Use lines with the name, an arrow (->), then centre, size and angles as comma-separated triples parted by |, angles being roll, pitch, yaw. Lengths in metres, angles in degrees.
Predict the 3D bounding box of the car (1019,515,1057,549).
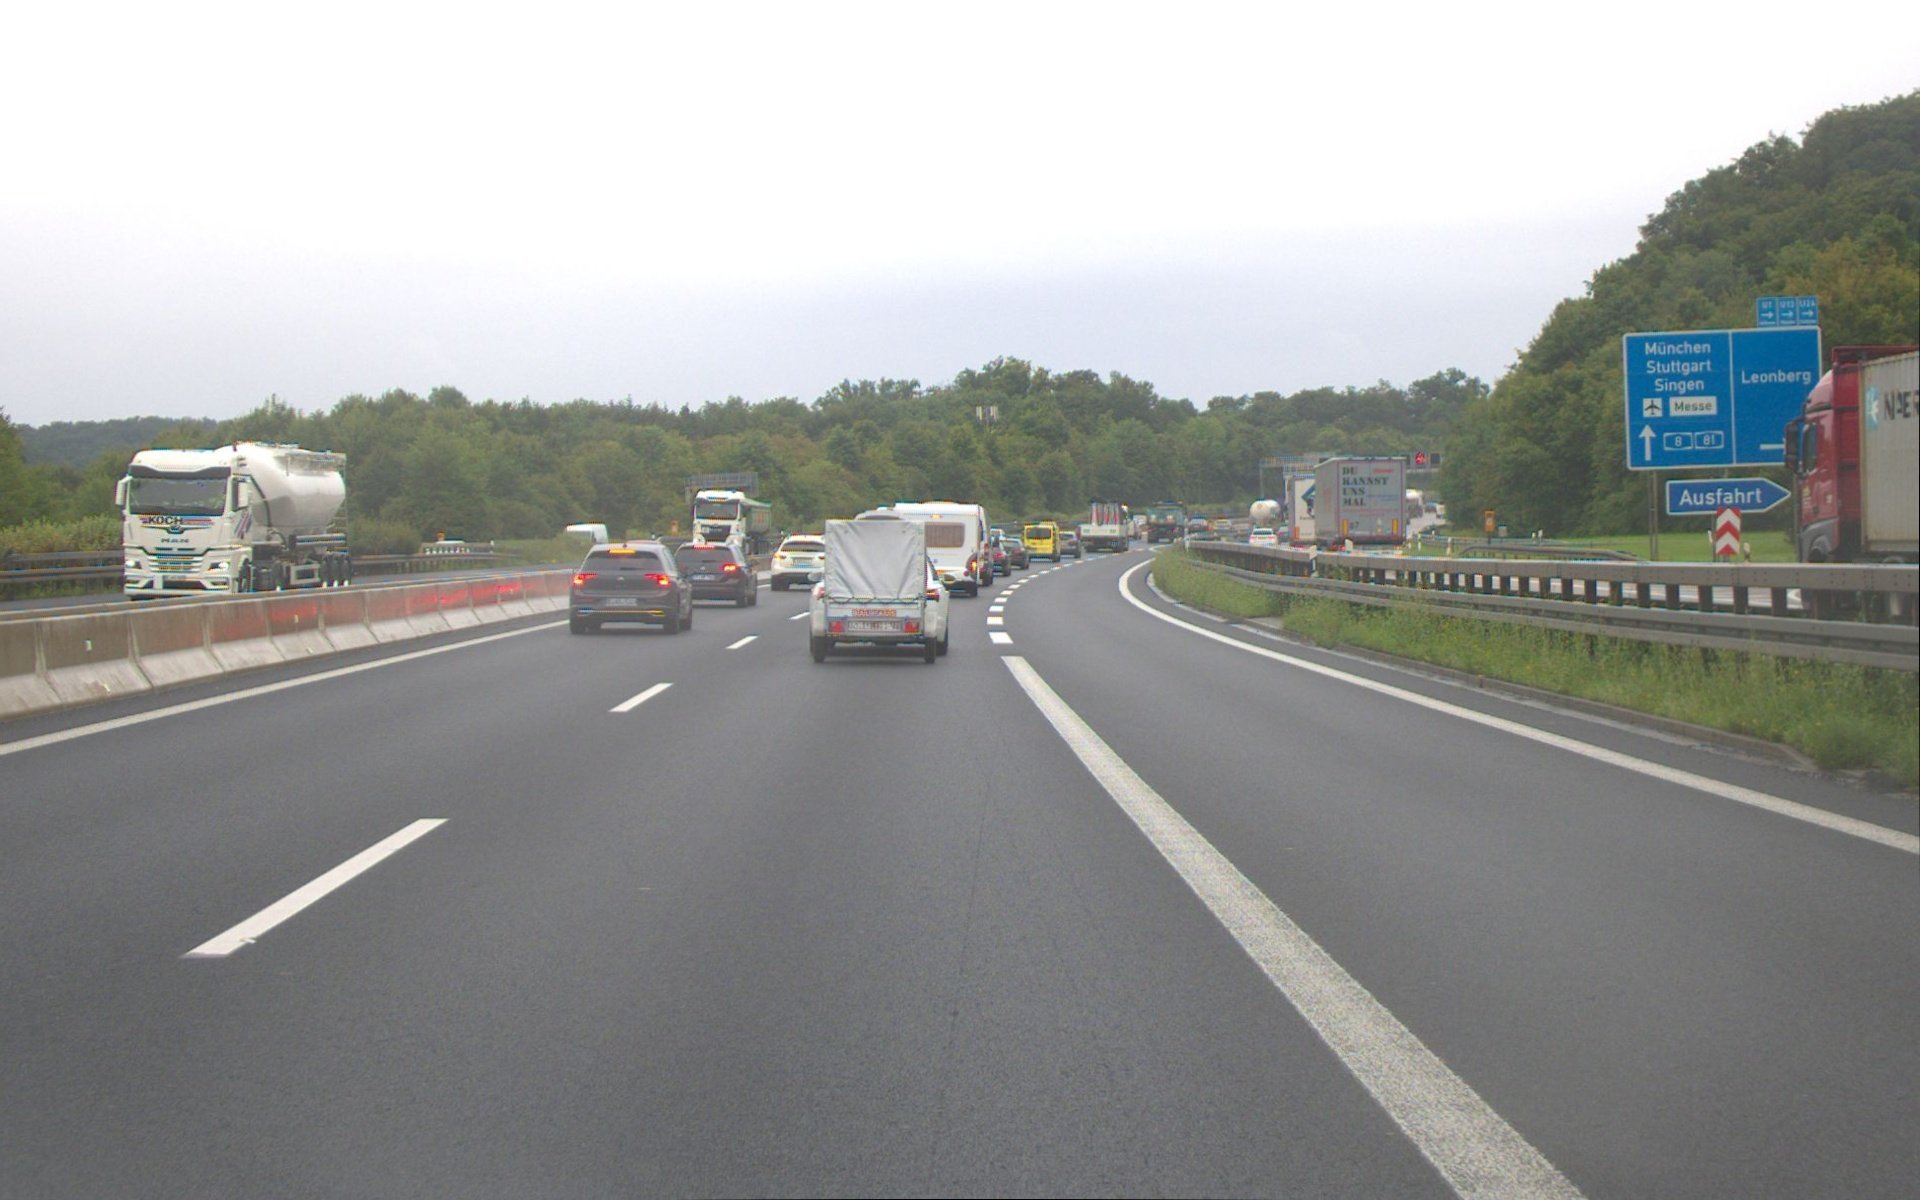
car -> 4.225, -3.668, 184.859 | 1.676, 1.806, 3.999 | 0, 1, 7

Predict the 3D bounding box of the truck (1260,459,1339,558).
truck -> 16.604, -4.404, 168.965 | 3.216, 4.650, 13.032 | 0, 1, 3

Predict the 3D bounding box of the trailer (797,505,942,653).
trailer -> -1.116, -0.288, 44.079 | 1.676, 1.806, 4.000 | 0, 1, 1

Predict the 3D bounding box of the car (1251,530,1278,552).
car -> 20.362, -3.958, 229.963 | 1.676, 1.451, 3.999 | 0, 1, 7

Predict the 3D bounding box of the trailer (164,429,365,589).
trailer -> -17.156, -2.189, 85.552 | 2.636, 3.723, 10.811 | 0, 1, 1

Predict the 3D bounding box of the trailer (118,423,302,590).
trailer -> -17.299, -2.124, 79.658 | 2.636, 3.703, 6.491 | 0, 1, 2

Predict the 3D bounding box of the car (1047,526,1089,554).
car -> 6.393, -3.533, 203.206 | 2.038, 1.677, 3.999 | 0, 1, 8

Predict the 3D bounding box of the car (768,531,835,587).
car -> -4.681, -1.230, 101.945 | 1.775, 1.634, 4.043 | 0, 1, 0

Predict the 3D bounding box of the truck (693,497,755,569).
truck -> -12.287, -3.479, 179.458 | 2.887, 3.736, 5.945 | 0, 1, -1

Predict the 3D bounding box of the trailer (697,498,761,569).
trailer -> -12.322, -3.539, 183.778 | 2.903, 3.736, 8.928 | 0, 1, -1

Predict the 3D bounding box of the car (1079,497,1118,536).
car -> 9.417, -5.656, 232.863 | 2.516, 2.566, 5.311 | 0, 1, 4

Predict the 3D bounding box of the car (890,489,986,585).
car -> -0.575, -1.719, 95.173 | 2.507, 2.576, 5.699 | 0, 1, 1

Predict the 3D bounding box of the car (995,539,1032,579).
car -> 2.488, -1.893, 158.653 | 1.676, 1.806, 4.000 | 0, 1, 1

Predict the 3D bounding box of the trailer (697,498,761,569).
trailer -> -12.322, -3.539, 183.778 | 2.903, 3.736, 8.928 | 0, 1, -1

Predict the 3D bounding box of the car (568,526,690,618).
car -> -5.382, -0.472, 56.301 | 1.675, 1.451, 4.000 | 0, 1, -1

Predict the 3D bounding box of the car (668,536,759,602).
car -> -5.509, -0.705, 77.305 | 1.765, 1.451, 4.000 | 0, 1, 0

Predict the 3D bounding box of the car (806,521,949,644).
car -> -1.094, -0.262, 47.593 | 1.818, 1.610, 4.778 | 0, 1, 1

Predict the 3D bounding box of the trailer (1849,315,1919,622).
trailer -> 13.489, -1.621, 40.376 | 2.604, 3.881, 12.491 | 0, 1, -1

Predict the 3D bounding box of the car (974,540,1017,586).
car -> 1.417, -1.477, 137.399 | 1.676, 1.806, 4.000 | 0, 1, 1

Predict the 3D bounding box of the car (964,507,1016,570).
car -> 0.991, -2.030, 114.253 | 1.676, 2.060, 4.000 | 0, 1, 0

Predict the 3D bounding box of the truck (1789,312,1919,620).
truck -> 13.338, -1.732, 46.423 | 2.616, 3.871, 6.392 | 0, 1, -1

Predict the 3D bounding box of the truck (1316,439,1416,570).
truck -> 15.120, -3.488, 128.894 | 3.216, 4.650, 13.031 | 0, 1, 5
